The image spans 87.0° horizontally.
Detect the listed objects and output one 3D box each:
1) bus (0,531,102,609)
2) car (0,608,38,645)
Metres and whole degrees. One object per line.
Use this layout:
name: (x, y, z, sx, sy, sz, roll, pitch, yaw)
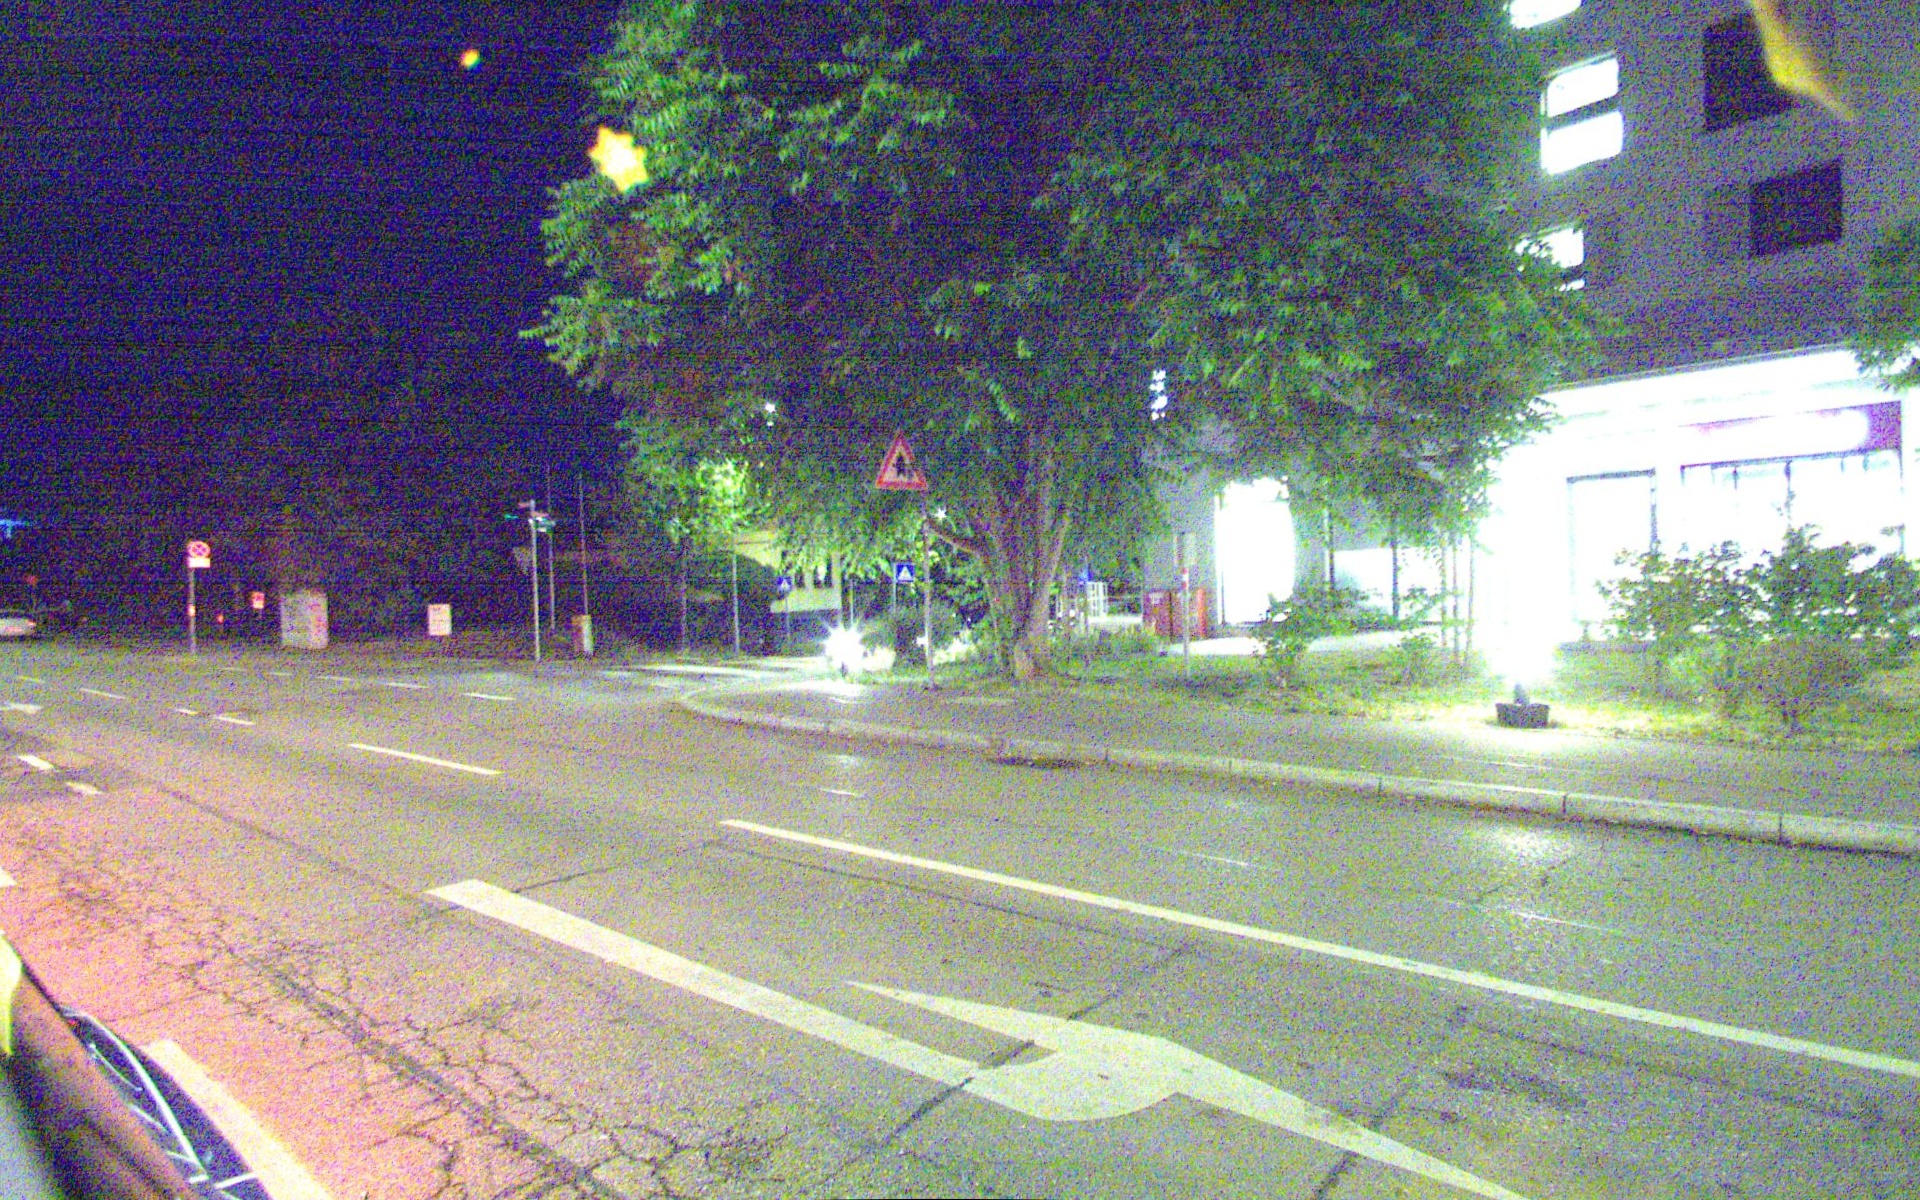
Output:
bus: (-88.590, -2.670, 98.185, 14.776, 6.990, 6.056, -1, 0, 41)
car: (-43.180, 1.186, 45.651, 3.996, 1.604, 1.784, -1, 0, 40)
